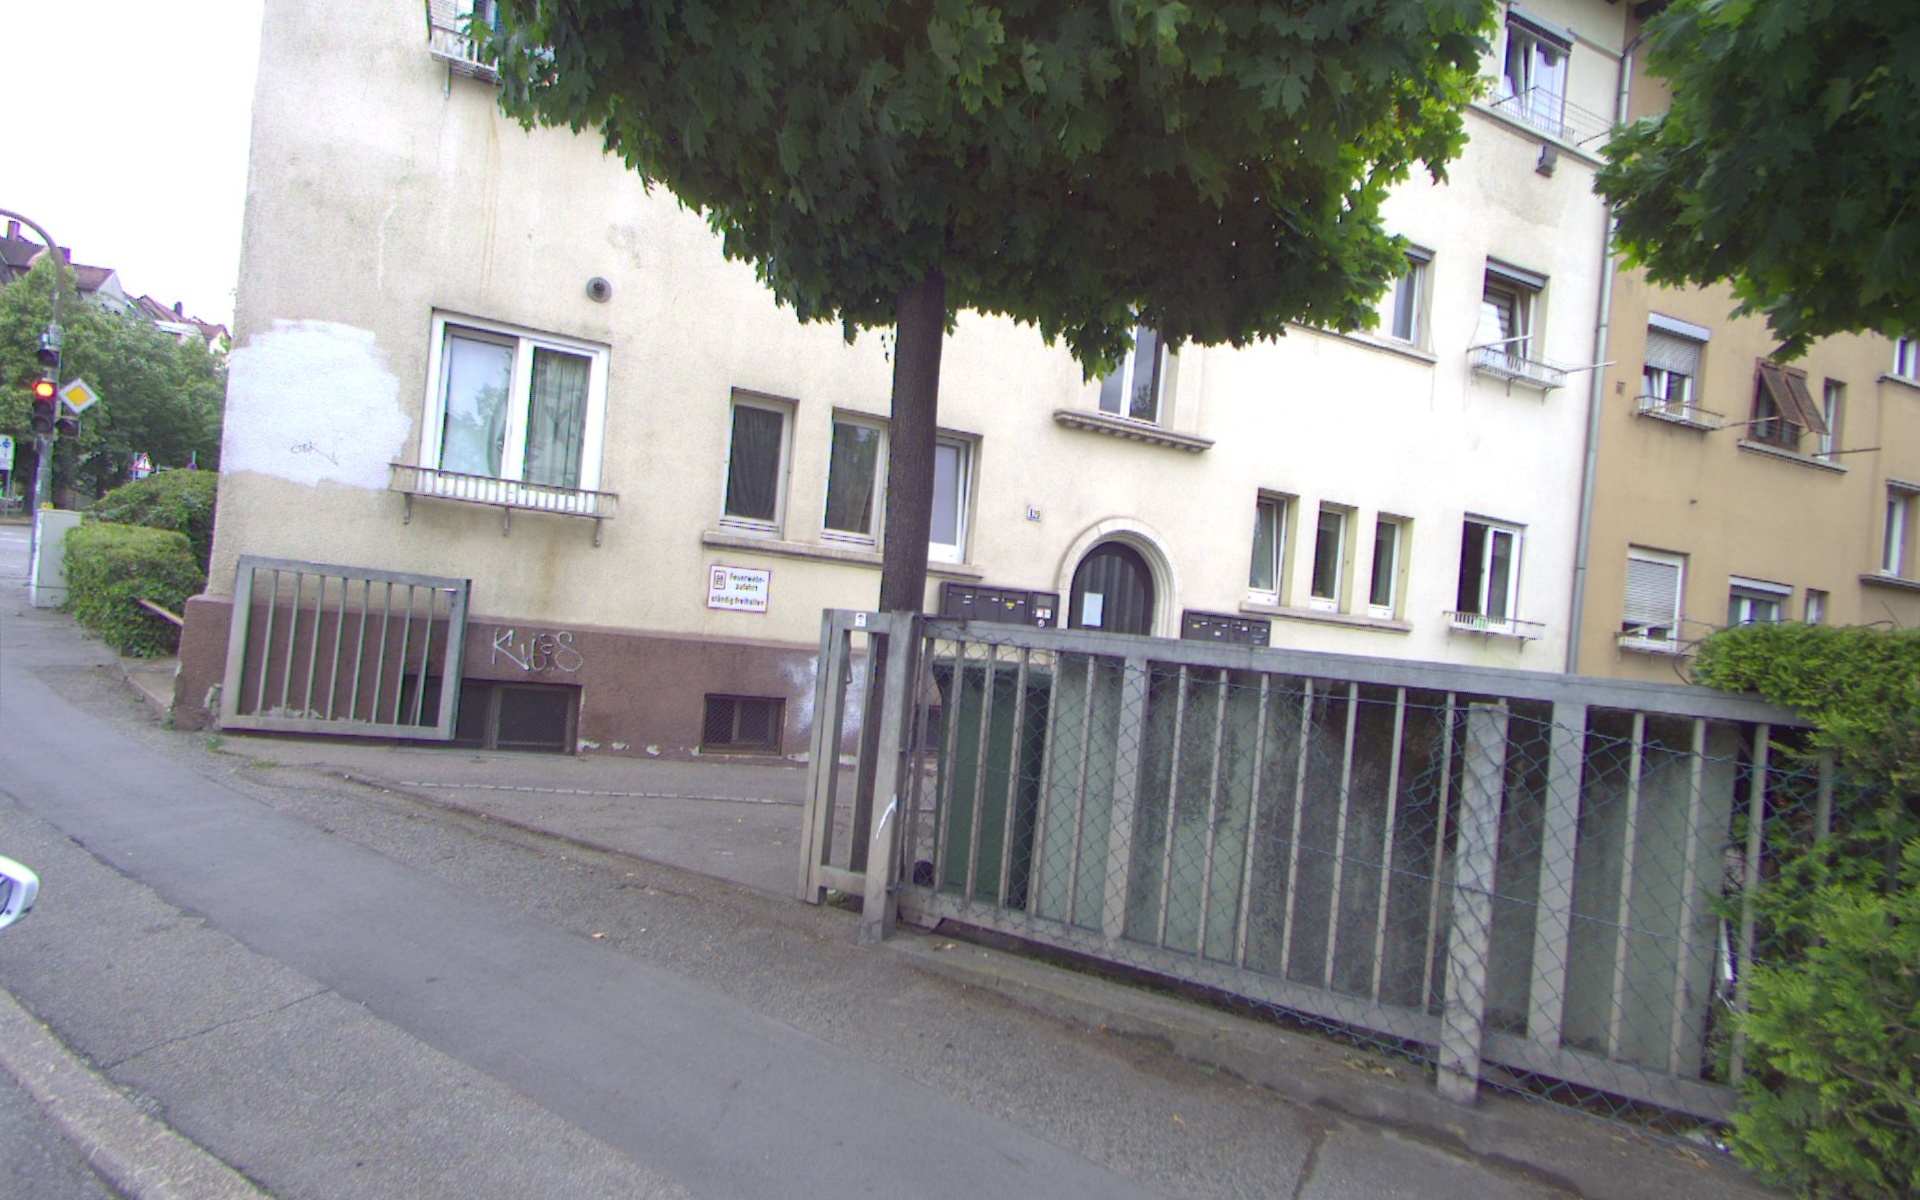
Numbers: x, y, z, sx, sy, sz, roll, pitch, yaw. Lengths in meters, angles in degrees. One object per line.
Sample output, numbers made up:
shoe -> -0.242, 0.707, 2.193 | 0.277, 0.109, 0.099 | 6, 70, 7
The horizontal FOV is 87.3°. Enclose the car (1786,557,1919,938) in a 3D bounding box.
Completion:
car -> 5.544, 0.791, 3.788 | 3.381, 1.477, 1.700 | 6, -2, 30
